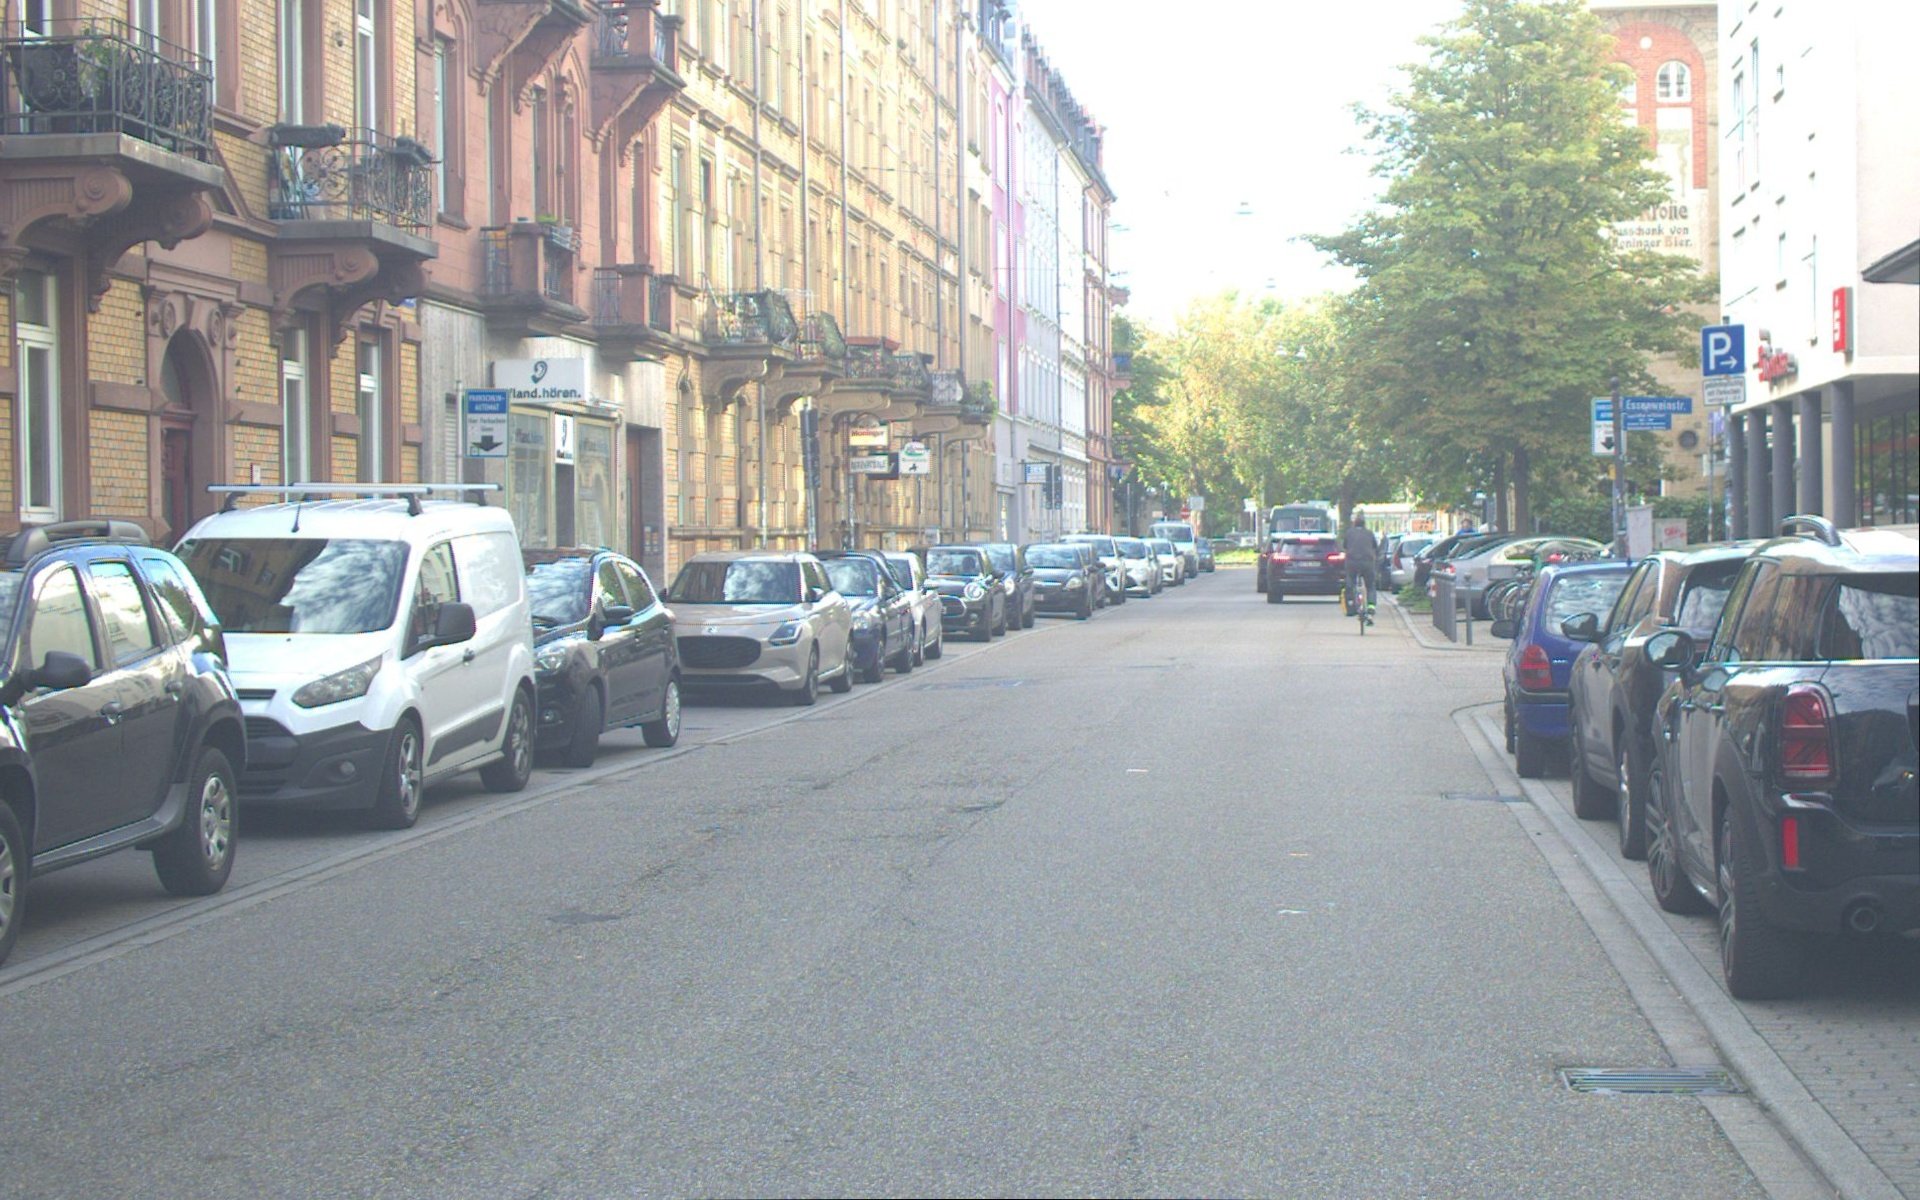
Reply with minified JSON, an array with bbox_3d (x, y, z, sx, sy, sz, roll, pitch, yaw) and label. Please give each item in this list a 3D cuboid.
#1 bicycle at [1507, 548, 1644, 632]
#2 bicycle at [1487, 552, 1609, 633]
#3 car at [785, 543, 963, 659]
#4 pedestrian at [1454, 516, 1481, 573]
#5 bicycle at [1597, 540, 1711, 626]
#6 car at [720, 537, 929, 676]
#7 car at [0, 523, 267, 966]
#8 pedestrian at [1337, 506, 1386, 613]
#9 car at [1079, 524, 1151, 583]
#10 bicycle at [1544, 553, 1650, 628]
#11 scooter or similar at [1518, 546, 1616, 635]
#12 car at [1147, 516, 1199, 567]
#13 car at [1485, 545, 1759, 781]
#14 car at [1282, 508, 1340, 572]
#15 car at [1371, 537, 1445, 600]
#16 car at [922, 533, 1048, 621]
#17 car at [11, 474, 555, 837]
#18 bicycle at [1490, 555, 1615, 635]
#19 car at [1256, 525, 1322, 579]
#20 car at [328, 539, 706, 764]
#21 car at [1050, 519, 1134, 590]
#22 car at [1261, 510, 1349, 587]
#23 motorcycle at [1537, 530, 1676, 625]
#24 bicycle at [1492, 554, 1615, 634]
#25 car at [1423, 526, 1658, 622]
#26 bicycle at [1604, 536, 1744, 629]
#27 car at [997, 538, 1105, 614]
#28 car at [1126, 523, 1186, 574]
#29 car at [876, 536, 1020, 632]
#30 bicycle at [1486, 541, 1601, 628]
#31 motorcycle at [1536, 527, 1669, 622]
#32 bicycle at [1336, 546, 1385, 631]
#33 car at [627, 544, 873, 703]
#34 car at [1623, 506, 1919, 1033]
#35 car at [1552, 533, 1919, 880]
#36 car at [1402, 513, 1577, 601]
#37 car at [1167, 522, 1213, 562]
[{"bbox_3d":[8.416,-0.137,47.027,1.765,1.053,0.411,-3,1,2],"label":"bicycle"},{"bbox_3d":[8.989,-0.118,52.576,1.795,1.155,0.500,-2,1,10],"label":"bicycle"},{"bbox_3d":[-1.046,-0.016,43.682,1.690,1.382,3.866,1,1,7],"label":"car"},{"bbox_3d":[20.141,-2.200,136.364,0.996,2.222,0.898,1,1,7],"label":"pedestrian"},{"bbox_3d":[9.752,-0.241,48.300,1.495,1.142,0.411,-2,1,7],"label":"bicycle"},{"bbox_3d":[-1.500,0.041,39.454,1.742,1.478,3.982,1,1,7],"label":"car"},{"bbox_3d":[-4.408,0.509,13.959,1.994,1.632,4.145,0,1,6],"label":"car"},{"bbox_3d":[6.250,-0.641,53.478,0.718,1.644,0.930,1,1,7],"label":"pedestrian"},{"bbox_3d":[4.204,-1.259,92.725,1.690,1.545,3.866,1,1,6],"label":"car"},{"bbox_3d":[10.560,-0.159,57.059,1.665,1.155,0.557,-2,1,8],"label":"bicycle"},{"bbox_3d":[8.176,-0.125,46.323,1.208,1.143,0.378,-2,2,38],"label":"scooter or similar"},{"bbox_3d":[7.713,-2.114,124.309,1.690,1.815,3.866,1,1,6],"label":"car"},{"bbox_3d":[4.485,0.371,23.716,1.596,1.434,4.029,-1,1,8],"label":"car"},{"bbox_3d":[11.306,-1.944,110.911,1.782,2.013,3.887,1,1,6],"label":"car"},{"bbox_3d":[12.248,-0.891,94.158,1.931,1.632,3.999,1,1,7],"label":"car"},{"bbox_3d":[0.459,-0.410,58.605,1.690,1.432,3.866,1,1,7],"label":"car"},{"bbox_3d":[-3.775,0.228,20.015,1.920,1.865,4.436,0,1,5],"label":"car"},{"bbox_3d":[8.777,-0.079,50.941,1.766,1.095,0.411,-2,1,10],"label":"bicycle"},{"bbox_3d":[9.296,-1.368,96.994,1.797,1.467,3.887,1,1,6],"label":"car"},{"bbox_3d":[-3.138,0.316,25.154,1.742,1.478,3.982,1,1,8],"label":"car"},{"bbox_3d":[3.132,-1.086,80.962,1.690,1.544,3.866,2,2,6],"label":"car"},{"bbox_3d":[7.998,-1.177,79.457,1.965,1.735,4.040,0,1,7],"label":"car"},{"bbox_3d":[10.473,-0.370,55.710,2.151,1.430,0.765,-2,1,11],"label":"motorcycle"},{"bbox_3d":[8.921,-0.096,51.680,1.766,1.115,0.411,-2,1,10],"label":"bicycle"},{"bbox_3d":[10.281,-0.455,61.046,3.760,1.541,1.731,-2,0,-3],"label":"car"},{"bbox_3d":[9.641,-0.236,46.469,1.766,1.158,0.650,-2,1,9],"label":"bicycle"},{"bbox_3d":[1.846,-0.492,68.580,1.690,1.364,3.866,4,1,7],"label":"car"},{"bbox_3d":[6.157,-1.629,107.814,1.690,1.545,3.866,1,1,6],"label":"car"},{"bbox_3d":[-0.148,-0.258,52.452,1.690,1.382,3.866,1,1,7],"label":"car"},{"bbox_3d":[8.208,-0.221,48.375,1.495,1.142,0.411,-3,1,2],"label":"bicycle"},{"bbox_3d":[10.972,-0.440,58.697,2.151,1.525,0.686,-2,1,11],"label":"motorcycle"},{"bbox_3d":[6.232,-0.191,53.413,0.718,1.270,1.883,1,1,7],"label":"bicycle"},{"bbox_3d":[-2.047,0.191,34.560,1.742,1.478,3.982,1,1,7],"label":"car"},{"bbox_3d":[3.510,0.467,12.583,1.793,1.600,3.923,-3,1,7],"label":"car"},{"bbox_3d":[4.078,0.460,17.692,1.688,1.572,3.902,-1,1,5],"label":"car"},{"bbox_3d":[12.615,-1.026,81.769,3.989,1.678,1.737,-2,9,11],"label":"car"},{"bbox_3d":[9.333,-2.340,139.174,1.690,1.545,3.866,1,1,6],"label":"car"}]
